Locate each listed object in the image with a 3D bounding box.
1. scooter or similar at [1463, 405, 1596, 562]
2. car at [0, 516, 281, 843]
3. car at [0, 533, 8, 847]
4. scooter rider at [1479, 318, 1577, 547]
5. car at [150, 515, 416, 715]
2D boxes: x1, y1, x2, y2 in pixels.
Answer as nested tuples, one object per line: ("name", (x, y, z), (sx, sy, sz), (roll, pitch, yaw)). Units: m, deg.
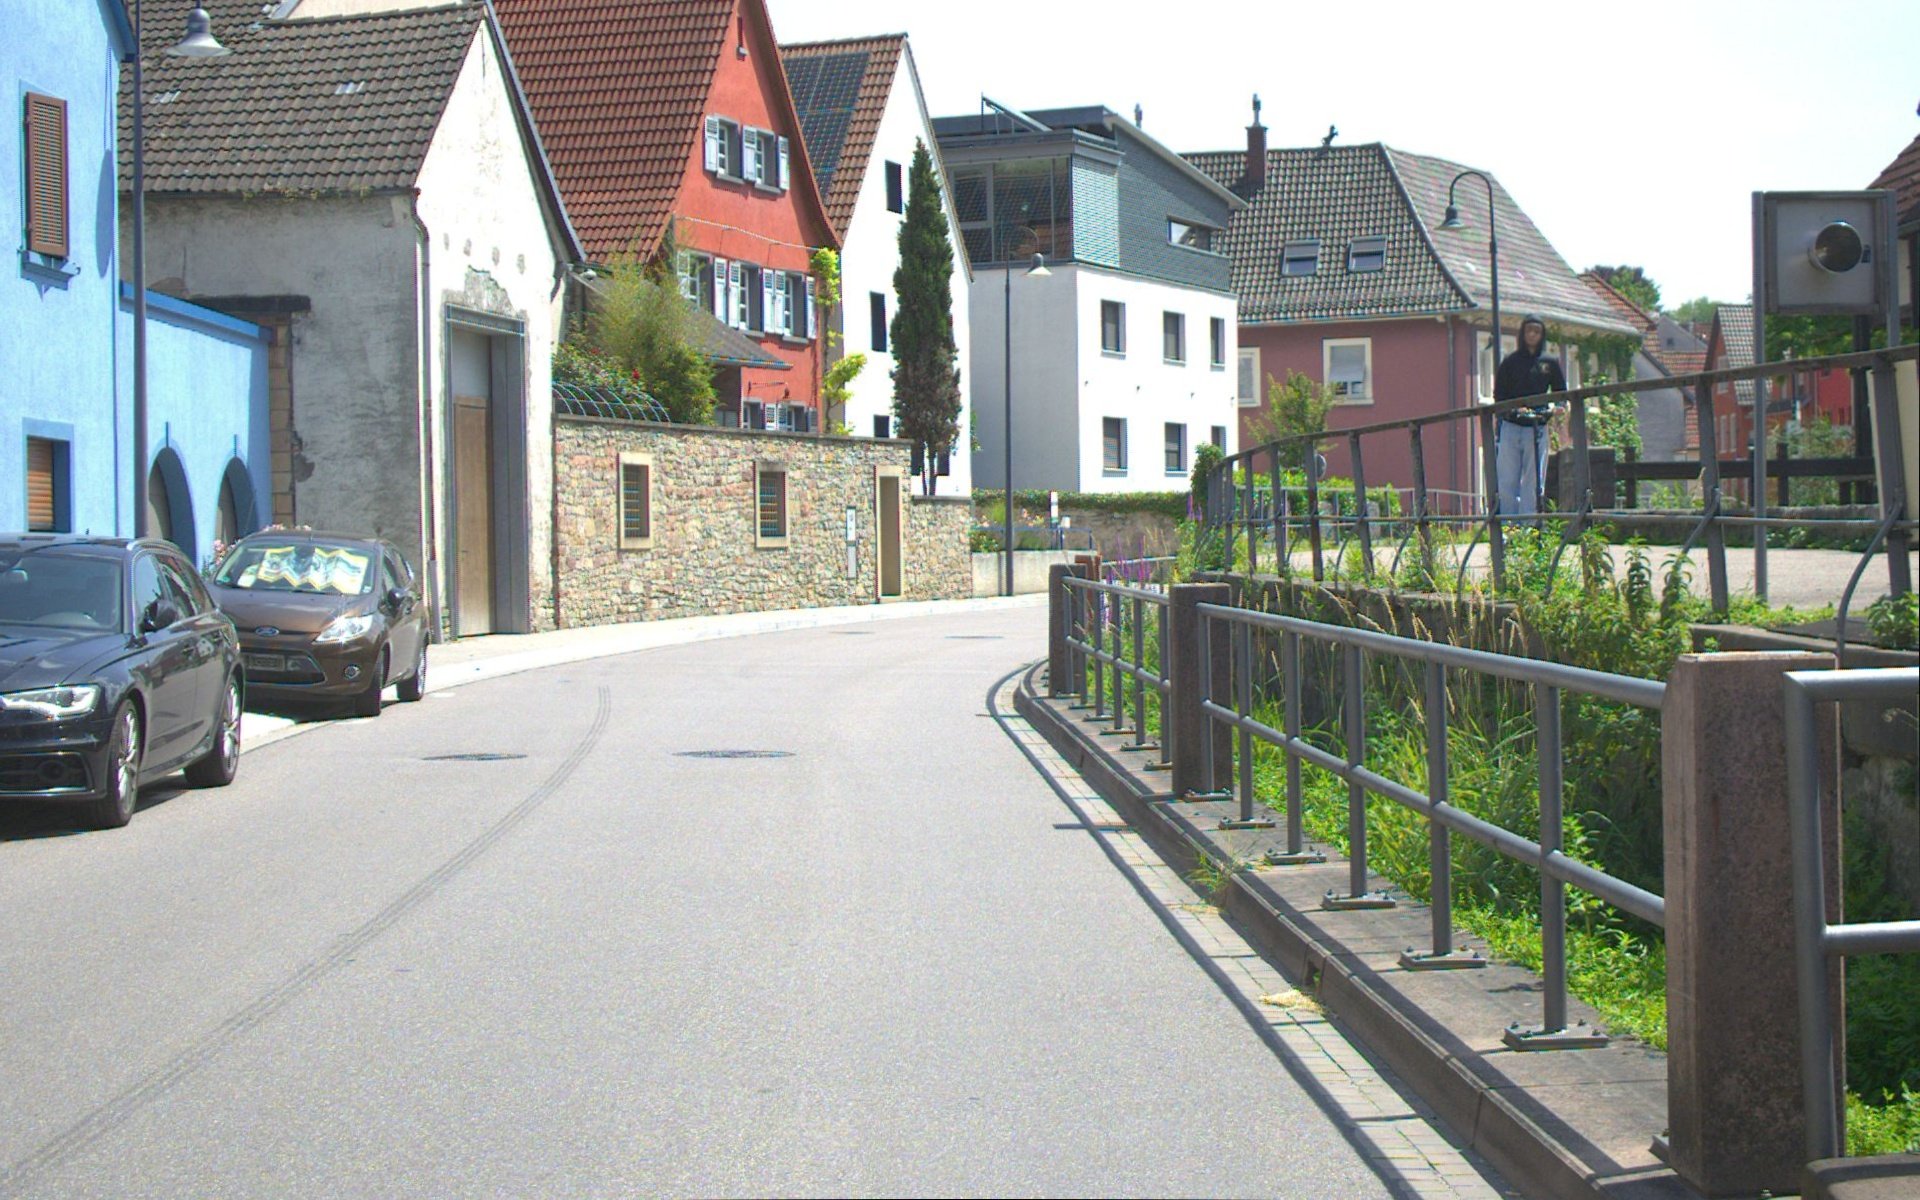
("scooter or similar", (4.334, -0.874, 26.274), (0.641, 1.138, 1.811), (-2, 1, -1))
("car", (-5.104, 0.322, 18.735), (1.885, 1.459, 4.669), (2, 2, -1))
("car", (-5.337, 0.440, 13.836), (1.956, 1.460, 4.546), (0, 0, -3))
("scooter rider", (4.313, -1.264, 26.132), (0.641, 1.726, 0.554), (0, 1, -1))
("car", (-5.656, 0.111, 29.110), (1.717, 1.525, 3.857), (-2, 0, -4))
